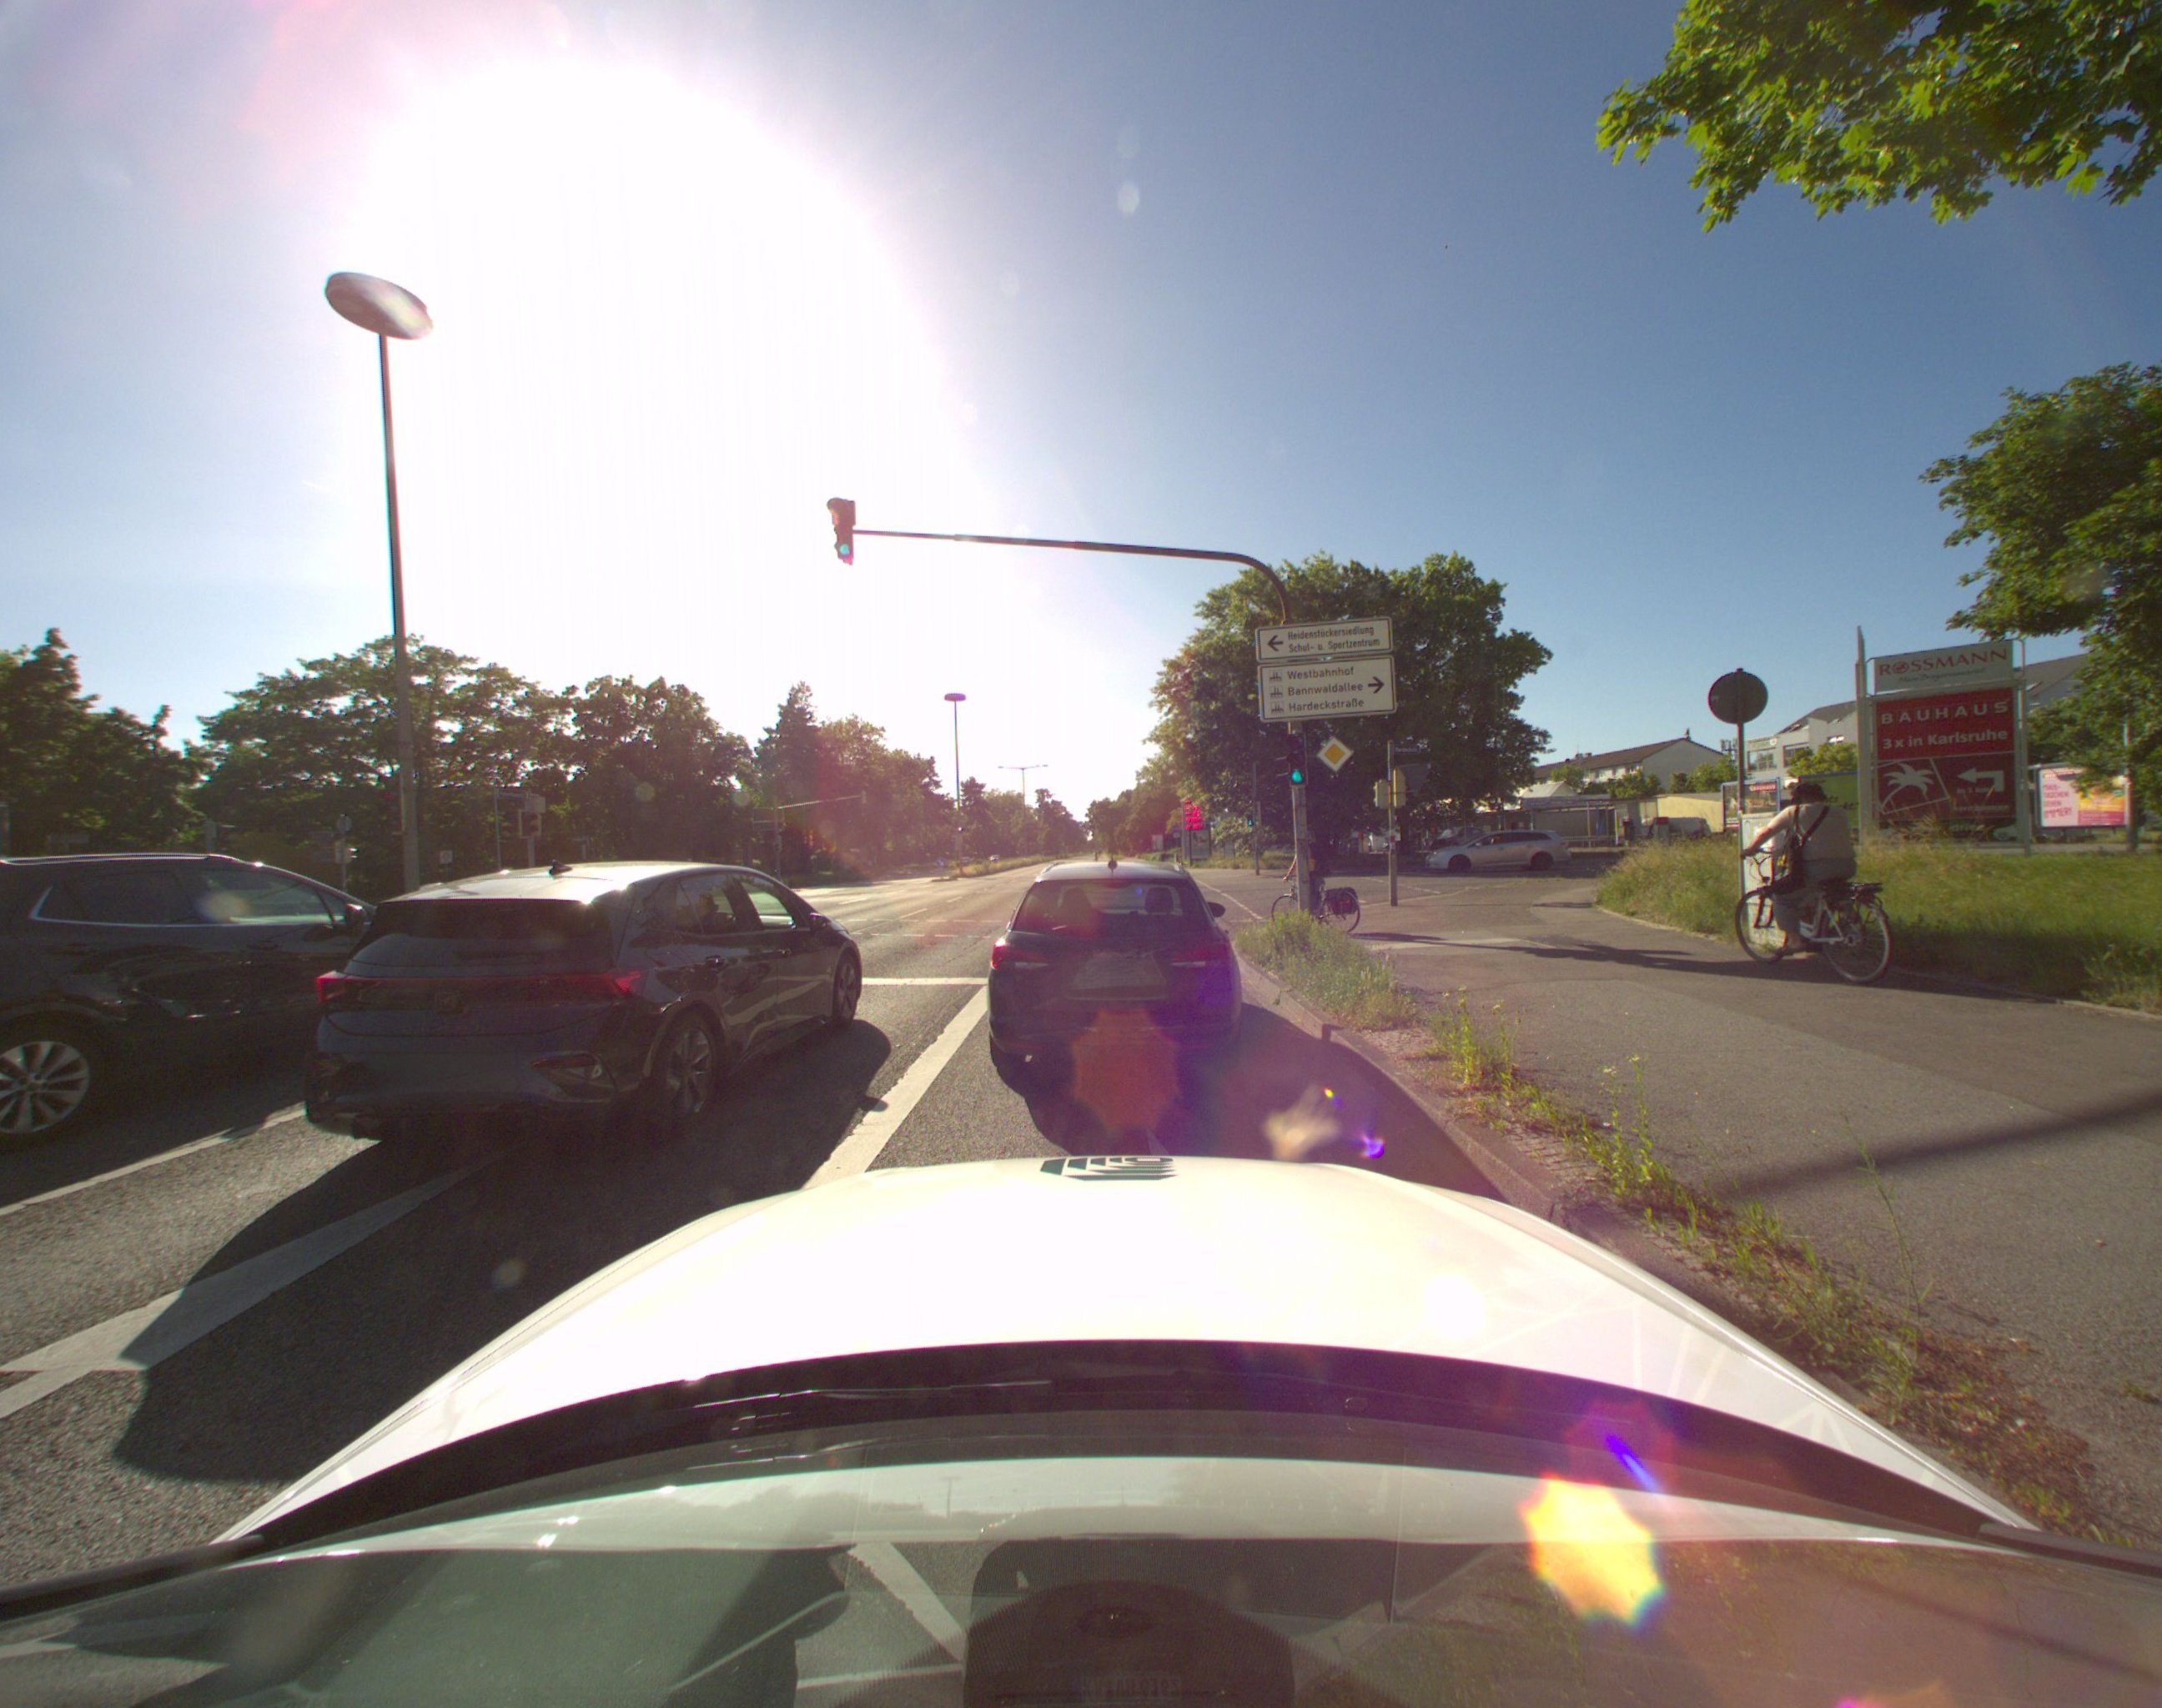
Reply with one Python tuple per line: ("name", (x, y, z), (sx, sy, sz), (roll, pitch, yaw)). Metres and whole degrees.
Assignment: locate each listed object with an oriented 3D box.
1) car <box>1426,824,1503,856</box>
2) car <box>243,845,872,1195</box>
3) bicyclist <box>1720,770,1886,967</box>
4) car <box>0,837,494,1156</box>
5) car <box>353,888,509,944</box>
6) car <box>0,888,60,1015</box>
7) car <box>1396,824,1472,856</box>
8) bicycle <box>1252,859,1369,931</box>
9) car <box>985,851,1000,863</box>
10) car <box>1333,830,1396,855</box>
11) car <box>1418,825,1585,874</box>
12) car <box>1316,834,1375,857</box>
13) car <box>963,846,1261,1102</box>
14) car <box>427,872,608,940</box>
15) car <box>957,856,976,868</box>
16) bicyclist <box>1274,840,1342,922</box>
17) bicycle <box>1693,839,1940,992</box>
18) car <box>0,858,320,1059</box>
("car", (22.377, -0.815, 47.525), (4.002, 1.680, 1.733), (-3, 0, -21))
("car", (-2.958, 0.775, 5.854), (1.678, 1.580, 4.208), (-1, 0, 2))
("bicyclist", (6.317, 0.108, 7.183), (0.575, 1.581, 1.000), (-4, 1, 8))
("car", (-6.609, 0.790, 5.791), (1.798, 1.689, 4.002), (-3, 0, 2))
("car", (-18.230, 1.696, 23.058), (1.384, 1.235, 3.637), (-3, 0, 2))
("car", (-14.940, 1.318, 8.746), (1.986, 1.601, 4.617), (-3, 0, 2))
("car", (21.386, -0.844, 49.371), (4.003, 1.750, 1.985), (-3, 0, -22))
("bicycle", (3.733, 0.689, 13.370), (0.541, 1.097, 1.755), (-3, -2, -42))
("car", (-15.947, 0.515, 146.560), (1.986, 2.013, 4.001), (-3, 0, 1))
("car", (19.662, -0.822, 56.432), (3.903, 1.517, 1.733), (-3, 0, -21))
("car", (14.964, -0.166, 29.292), (4.969, 1.486, 2.007), (-2, 0, 13))
("car", (19.327, -0.616, 59.524), (3.903, 1.517, 1.733), (-3, 0, -21))
("car", (0.251, 0.728, 6.963), (1.750, 1.495, 4.208), (-1, 0, 2))
("car", (-14.875, 1.308, 21.828), (1.769, 1.463, 4.166), (-3, 0, 2))
("car", (-15.818, 1.080, 112.666), (1.986, 1.530, 4.001), (-3, 0, 1))
("bicyclist", (3.720, 0.447, 13.374), (0.541, 1.277, 0.819), (-3, -2, -42))
("bicycle", (6.341, 0.455, 7.191), (0.575, 1.097, 1.993), (-4, 1, 8))
("car", (-10.223, 0.949, 7.919), (1.824, 1.702, 3.999), (-3, 0, 0))
